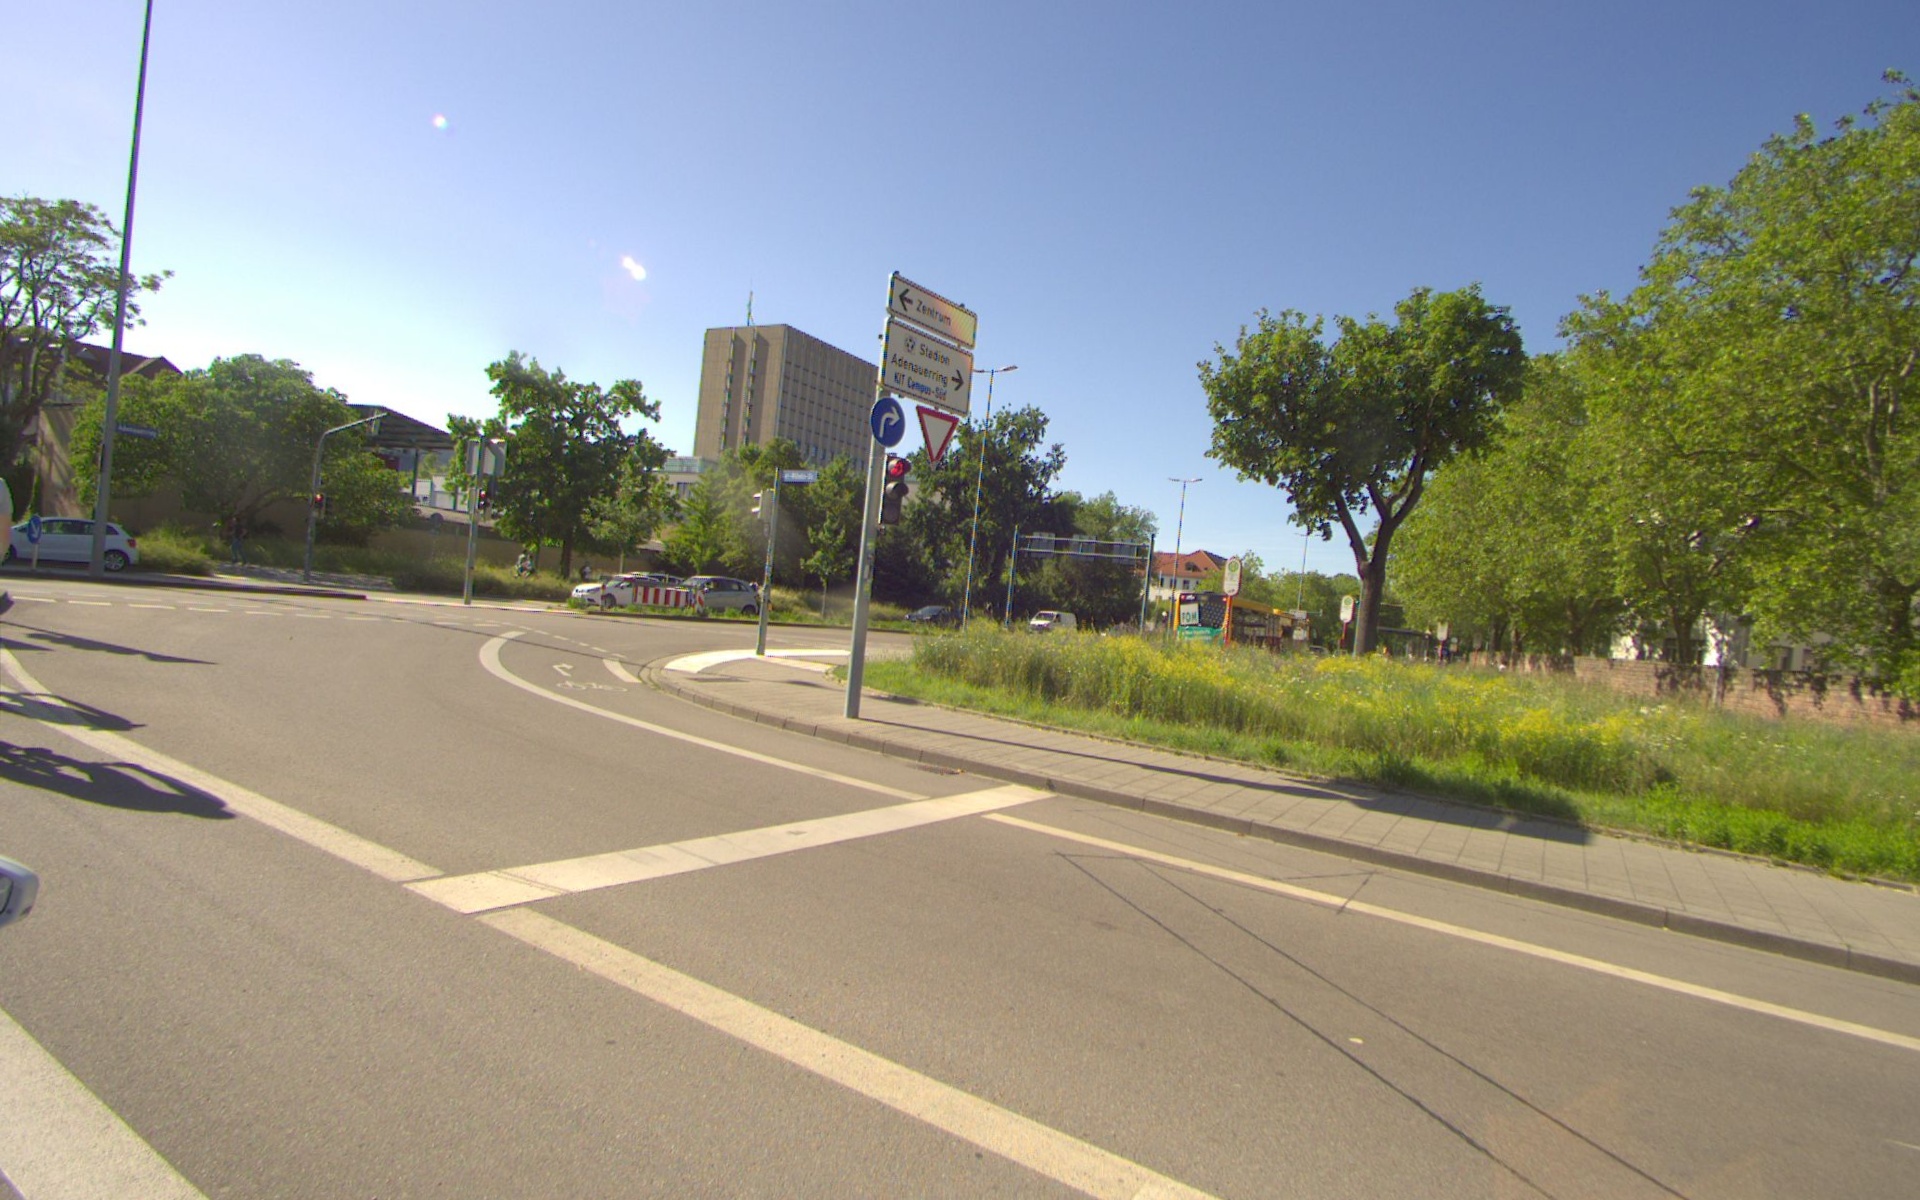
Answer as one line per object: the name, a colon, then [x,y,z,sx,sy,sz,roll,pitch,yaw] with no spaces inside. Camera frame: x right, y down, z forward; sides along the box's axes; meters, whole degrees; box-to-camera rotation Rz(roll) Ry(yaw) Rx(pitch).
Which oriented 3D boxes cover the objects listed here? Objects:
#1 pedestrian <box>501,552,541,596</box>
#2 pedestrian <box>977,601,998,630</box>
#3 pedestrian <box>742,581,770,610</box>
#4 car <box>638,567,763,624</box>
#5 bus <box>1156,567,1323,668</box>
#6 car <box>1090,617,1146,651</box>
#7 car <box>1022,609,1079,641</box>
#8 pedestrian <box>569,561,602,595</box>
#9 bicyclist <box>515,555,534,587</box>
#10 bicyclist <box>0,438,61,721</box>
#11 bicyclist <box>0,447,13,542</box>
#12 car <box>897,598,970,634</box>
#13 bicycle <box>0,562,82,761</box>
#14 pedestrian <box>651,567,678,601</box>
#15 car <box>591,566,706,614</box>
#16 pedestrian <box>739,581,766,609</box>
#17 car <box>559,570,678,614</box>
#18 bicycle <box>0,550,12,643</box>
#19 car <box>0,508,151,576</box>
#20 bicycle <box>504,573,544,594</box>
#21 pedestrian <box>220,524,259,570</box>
pedestrian: [-20.615,-1.202,47.243,0.953,1.879,1.294,7,1,43]
pedestrian: [2.170,1.215,78.588,0.966,2.106,1.186,7,1,35]
pedestrian: [-11.927,-0.276,58.853,0.975,1.540,1.129,7,1,35]
car: [-9.561,-0.139,37.364,1.882,1.625,4.124,7,0,37]
bus: [13.418,1.031,47.116,3.199,3.614,12.425,8,0,35]
car: [11.503,2.488,73.058,1.968,2.062,4.834,7,0,34]
car: [6.793,1.886,75.288,1.968,1.966,4.834,7,0,35]
pedestrian: [-18.679,-1.115,50.161,0.917,1.540,1.083,7,1,41]
bicyclist: [-19.693,-1.315,45.491,0.568,1.385,0.520,7,1,42]
bicyclist: [-6.176,-0.164,6.105,0.851,1.695,0.741,7,1,30]
bicyclist: [-8.119,-0.469,7.831,1.063,1.601,0.675,7,-1,31]
car: [-1.458,0.907,57.218,1.968,1.625,4.127,7,0,35]
bicycle: [-6.256,0.295,6.140,1.871,1.064,0.748,6,1,31]
pedestrian: [-16.114,-0.876,54.796,0.959,1.754,0.914,6,1,-43]
car: [-13.895,-0.433,45.062,1.970,1.625,4.502,7,0,37]
pedestrian: [-12.308,-0.292,59.611,0.865,1.540,1.144,7,1,35]
car: [-13.465,-0.293,39.845,1.971,1.378,3.991,5,-1,39]
bicycle: [-8.258,0.045,7.866,1.813,1.063,0.672,6,-1,31]
car: [-25.985,-1.678,28.968,1.789,1.509,3.943,4,-2,45]
bicycle: [-19.723,-0.749,45.537,0.561,0.787,1.490,7,0,42]
pedestrian: [-27.720,-2.038,38.706,0.979,1.625,0.816,6,1,-45]
